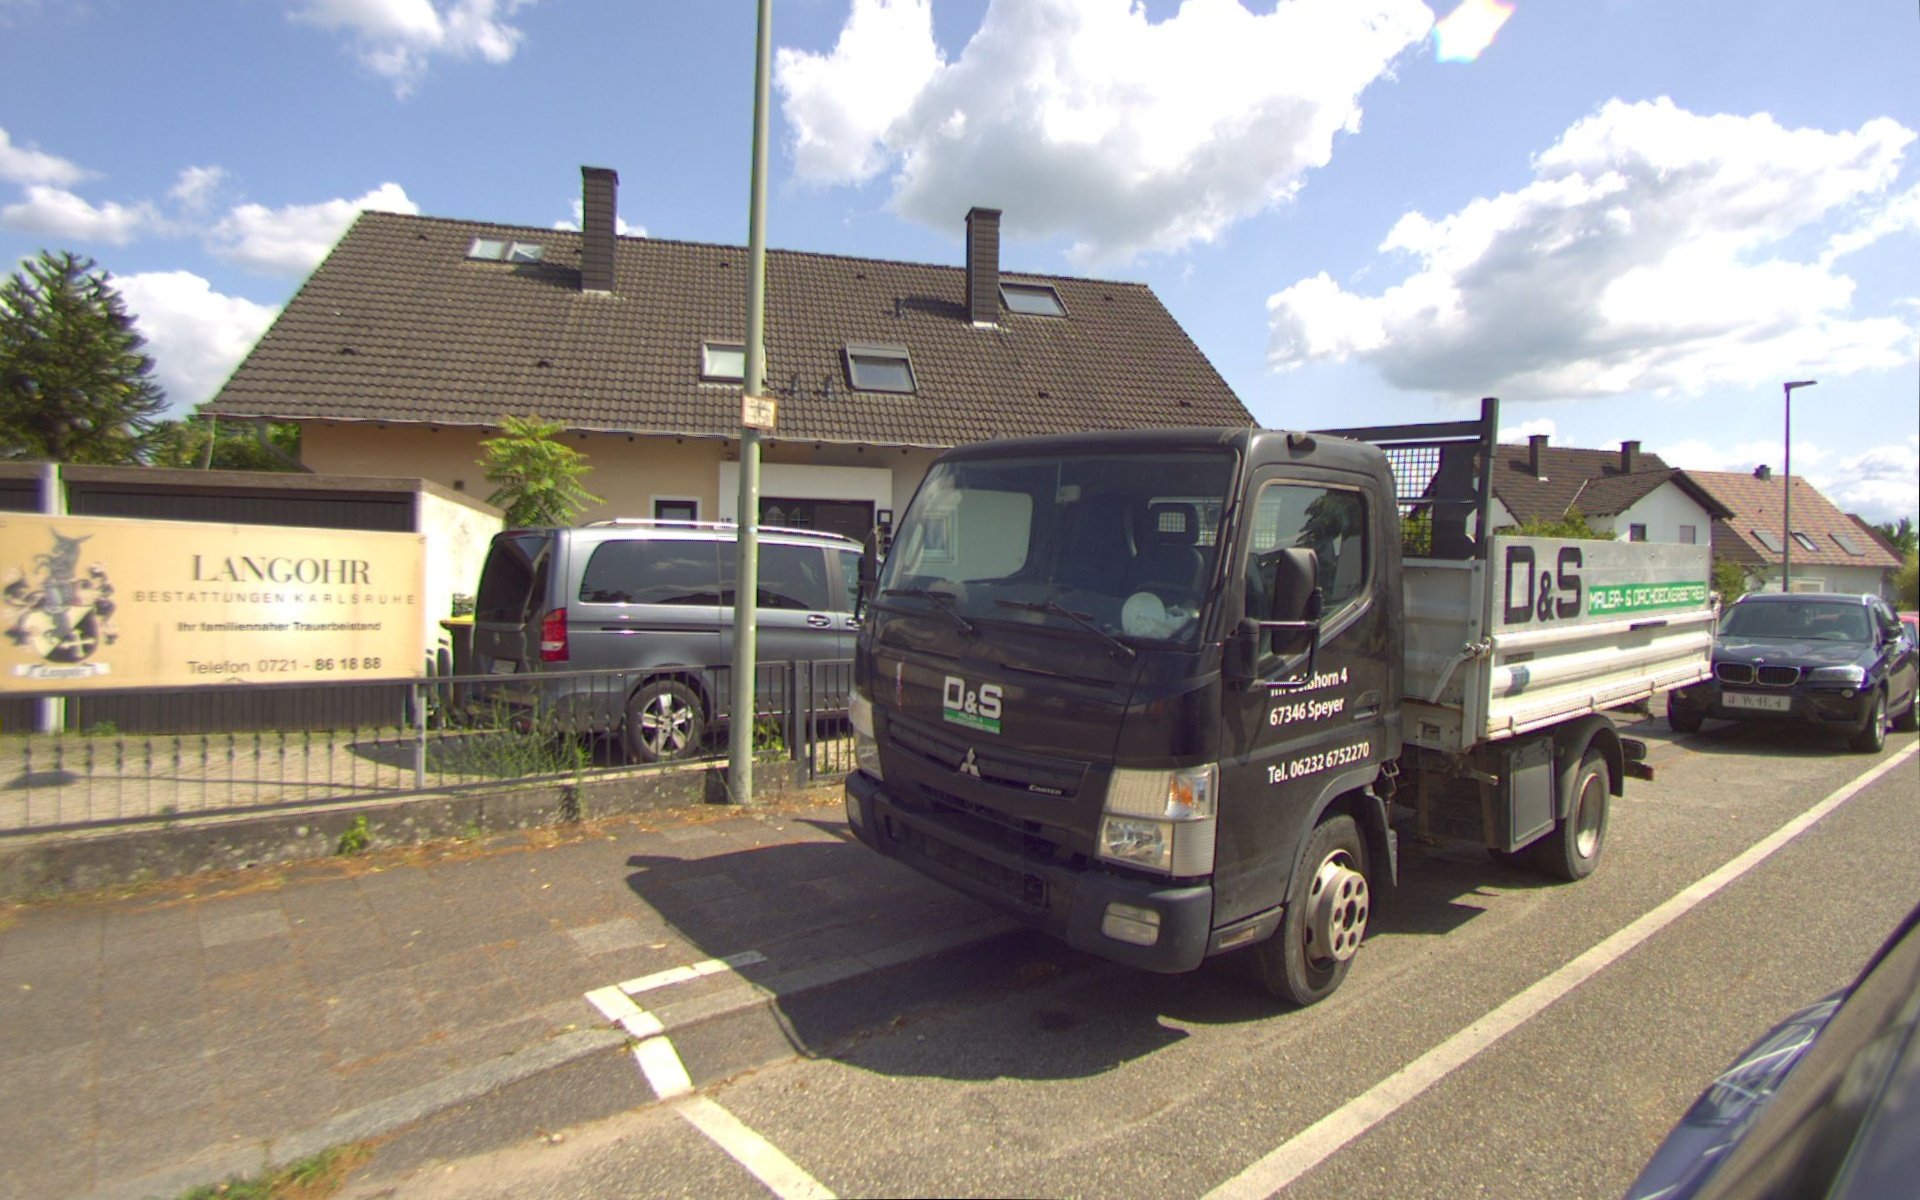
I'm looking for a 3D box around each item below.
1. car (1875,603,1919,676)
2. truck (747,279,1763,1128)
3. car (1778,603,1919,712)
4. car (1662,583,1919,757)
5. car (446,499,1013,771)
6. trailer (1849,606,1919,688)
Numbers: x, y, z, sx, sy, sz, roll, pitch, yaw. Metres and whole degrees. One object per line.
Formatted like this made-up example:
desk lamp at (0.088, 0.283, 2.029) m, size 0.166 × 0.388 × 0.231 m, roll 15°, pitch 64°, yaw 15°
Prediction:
car at (21.375, 0.813, 22.036) m, size 4.674 × 1.481 × 1.694 m, roll 0°, pitch 0°, yaw -42°
truck at (2.056, 0.225, 5.603) m, size 5.790 × 2.327 × 2.528 m, roll 0°, pitch 3°, yaw -40°
car at (13.976, 0.772, 15.318) m, size 4.071 × 1.453 × 1.688 m, roll 0°, pitch 0°, yaw -39°
car at (10.068, 0.676, 11.934) m, size 4.472 × 1.683 × 1.833 m, roll 0°, pitch 0°, yaw -40°
car at (-1.841, 0.230, 9.437) m, size 1.857 × 1.889 × 4.939 m, roll 1°, pitch 1°, yaw 45°
trailer at (18.057, 0.817, 18.955) m, size 4.356 × 1.395 × 1.610 m, roll 0°, pitch 0°, yaw -42°
